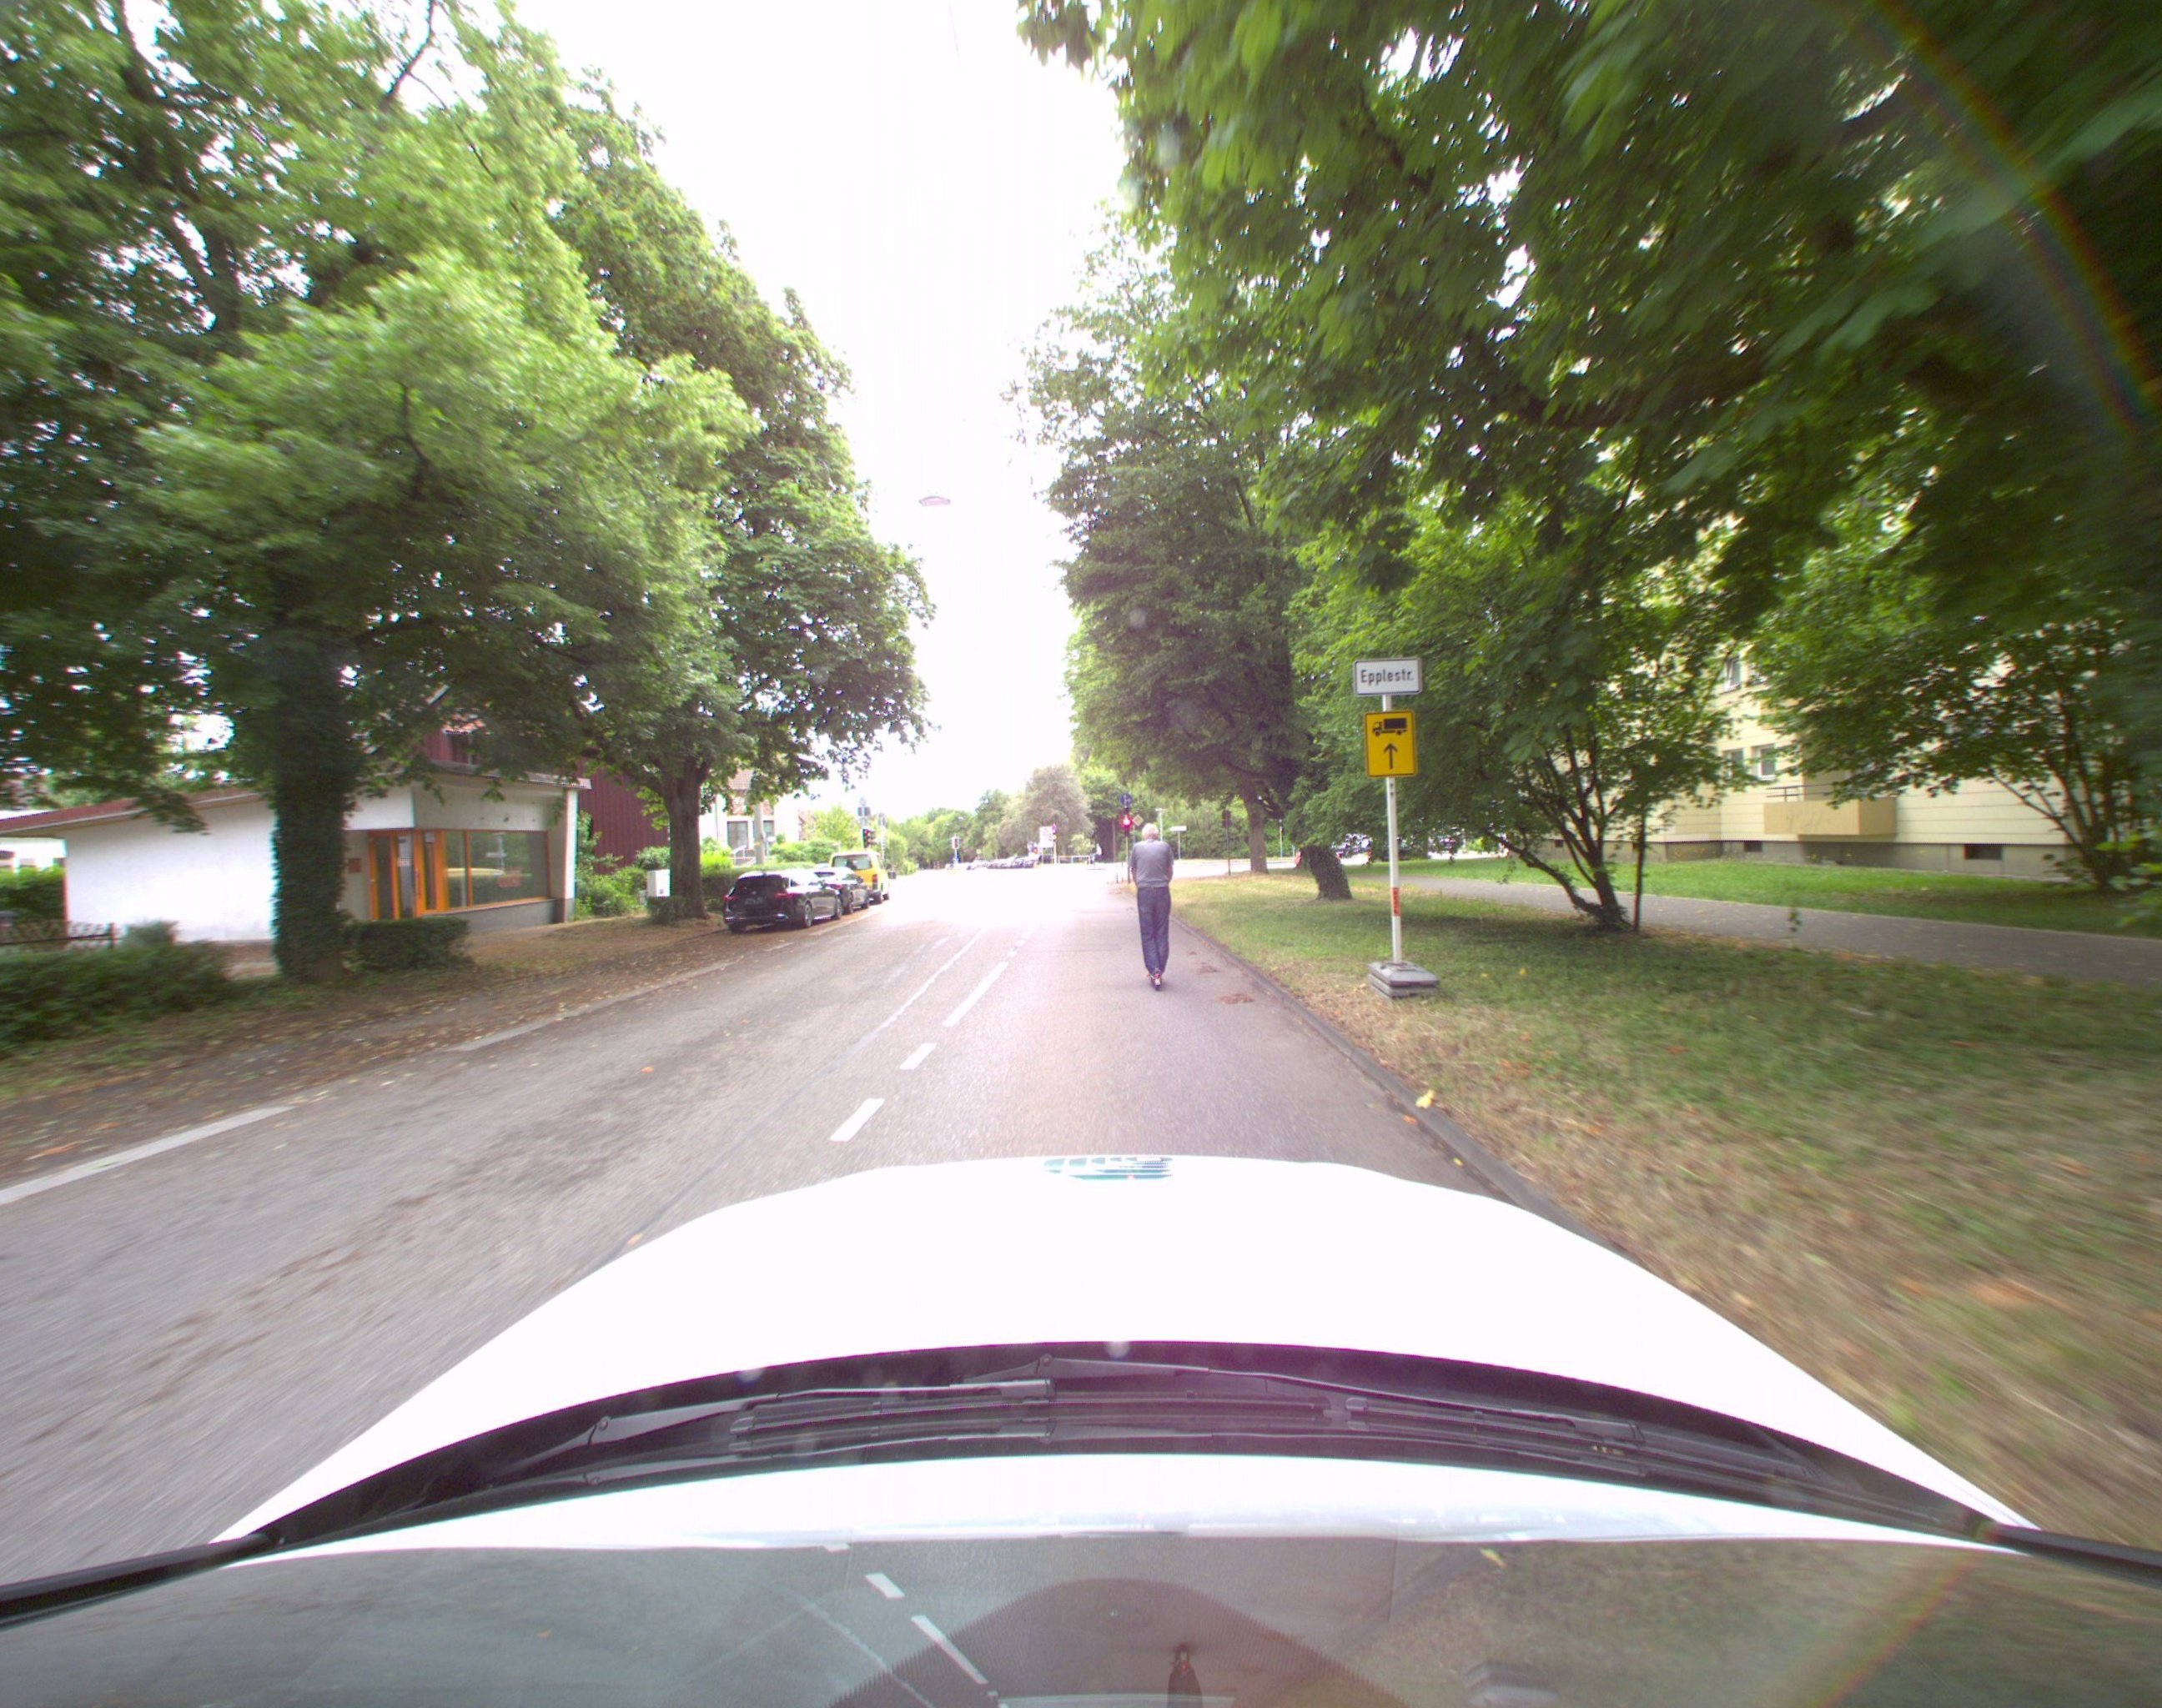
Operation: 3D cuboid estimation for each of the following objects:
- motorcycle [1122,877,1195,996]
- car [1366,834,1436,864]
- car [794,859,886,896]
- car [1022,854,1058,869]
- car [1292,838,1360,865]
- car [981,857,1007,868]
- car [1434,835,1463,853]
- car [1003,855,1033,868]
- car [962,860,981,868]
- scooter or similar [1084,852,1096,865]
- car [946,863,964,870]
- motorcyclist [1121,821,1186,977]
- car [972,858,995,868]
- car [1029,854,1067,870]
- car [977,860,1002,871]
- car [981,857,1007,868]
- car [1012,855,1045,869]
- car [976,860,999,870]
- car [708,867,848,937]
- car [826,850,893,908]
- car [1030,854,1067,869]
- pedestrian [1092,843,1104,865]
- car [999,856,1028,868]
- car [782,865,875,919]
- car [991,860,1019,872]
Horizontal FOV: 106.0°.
[{"bbox_3d":[0.863,0.904,9.374,0.671,1.217,1.273,-1,0,-2],"label":"motorcycle"},{"bbox_3d":[19.853,-0.296,50.549,3.952,1.726,1.810,0,3,22],"label":"car"},{"bbox_3d":[-11.645,1.133,39.537,3.985,1.510,1.795,-3,2,-9],"label":"car"},{"bbox_3d":[-4.787,0.876,94.925,3.982,1.510,1.796,-3,0,-6],"label":"car"},{"bbox_3d":[15.541,-0.168,51.792,3.963,1.557,1.805,-1,3,9],"label":"car"},{"bbox_3d":[-14.052,1.424,131.951,3.982,1.510,1.796,-3,0,-6],"label":"car"},{"bbox_3d":[33.614,-0.890,74.547,2.065,1.510,4.020,-3,0,20],"label":"car"},{"bbox_3d":[-8.661,1.065,112.262,3.982,1.510,1.796,-3,0,-6],"label":"car"},{"bbox_3d":[-24.115,2.191,178.680,3.982,1.510,1.796,-3,0,-6],"label":"car"},{"bbox_3d":[0.763,0.389,69.063,0.704,1.049,0.791,-3,0,16],"label":"scooter or similar"},{"bbox_3d":[-31.029,2.979,200.584,3.982,1.510,1.796,-3,0,-6],"label":"car"},{"bbox_3d":[0.848,0.514,9.650,0.671,1.761,0.638,-1,0,-2],"label":"motorcyclist"},{"bbox_3d":[-17.737,1.666,148.595,3.982,1.510,1.796,-3,0,-6],"label":"car"},{"bbox_3d":[-3.590,0.850,87.856,3.982,1.510,1.796,-3,0,-6],"label":"car"},{"bbox_3d":[-15.021,1.874,134.267,3.982,1.510,1.796,-3,0,-6],"label":"car"},{"bbox_3d":[-13.751,1.393,128.246,3.982,1.510,1.796,-3,0,-6],"label":"car"},{"bbox_3d":[-6.543,0.987,101.663,3.982,1.510,1.796,-3,0,-6],"label":"car"},{"bbox_3d":[-16.707,2.008,145.525,3.982,1.510,1.796,-3,0,-6],"label":"car"},{"bbox_3d":[-7.436,1.112,20.523,1.887,1.410,4.550,-3,0,-2],"label":"car"},{"bbox_3d":[-8.435,0.910,31.387,1.856,1.964,4.491,-3,0,-8],"label":"car"},{"bbox_3d":[-3.632,0.830,91.435,3.982,1.510,1.796,-3,0,-6],"label":"car"},{"bbox_3d":[1.424,0.008,68.724,0.726,1.761,0.664,-3,0,16],"label":"pedestrian"},{"bbox_3d":[-9.481,1.123,114.112,3.982,1.510,1.796,-3,0,-6],"label":"car"},{"bbox_3d":[-7.868,1.145,25.770,1.791,1.416,4.184,-3,0,-4],"label":"car"},{"bbox_3d":[-11.003,1.729,118.011,3.982,1.510,1.796,-3,0,-6],"label":"car"}]
